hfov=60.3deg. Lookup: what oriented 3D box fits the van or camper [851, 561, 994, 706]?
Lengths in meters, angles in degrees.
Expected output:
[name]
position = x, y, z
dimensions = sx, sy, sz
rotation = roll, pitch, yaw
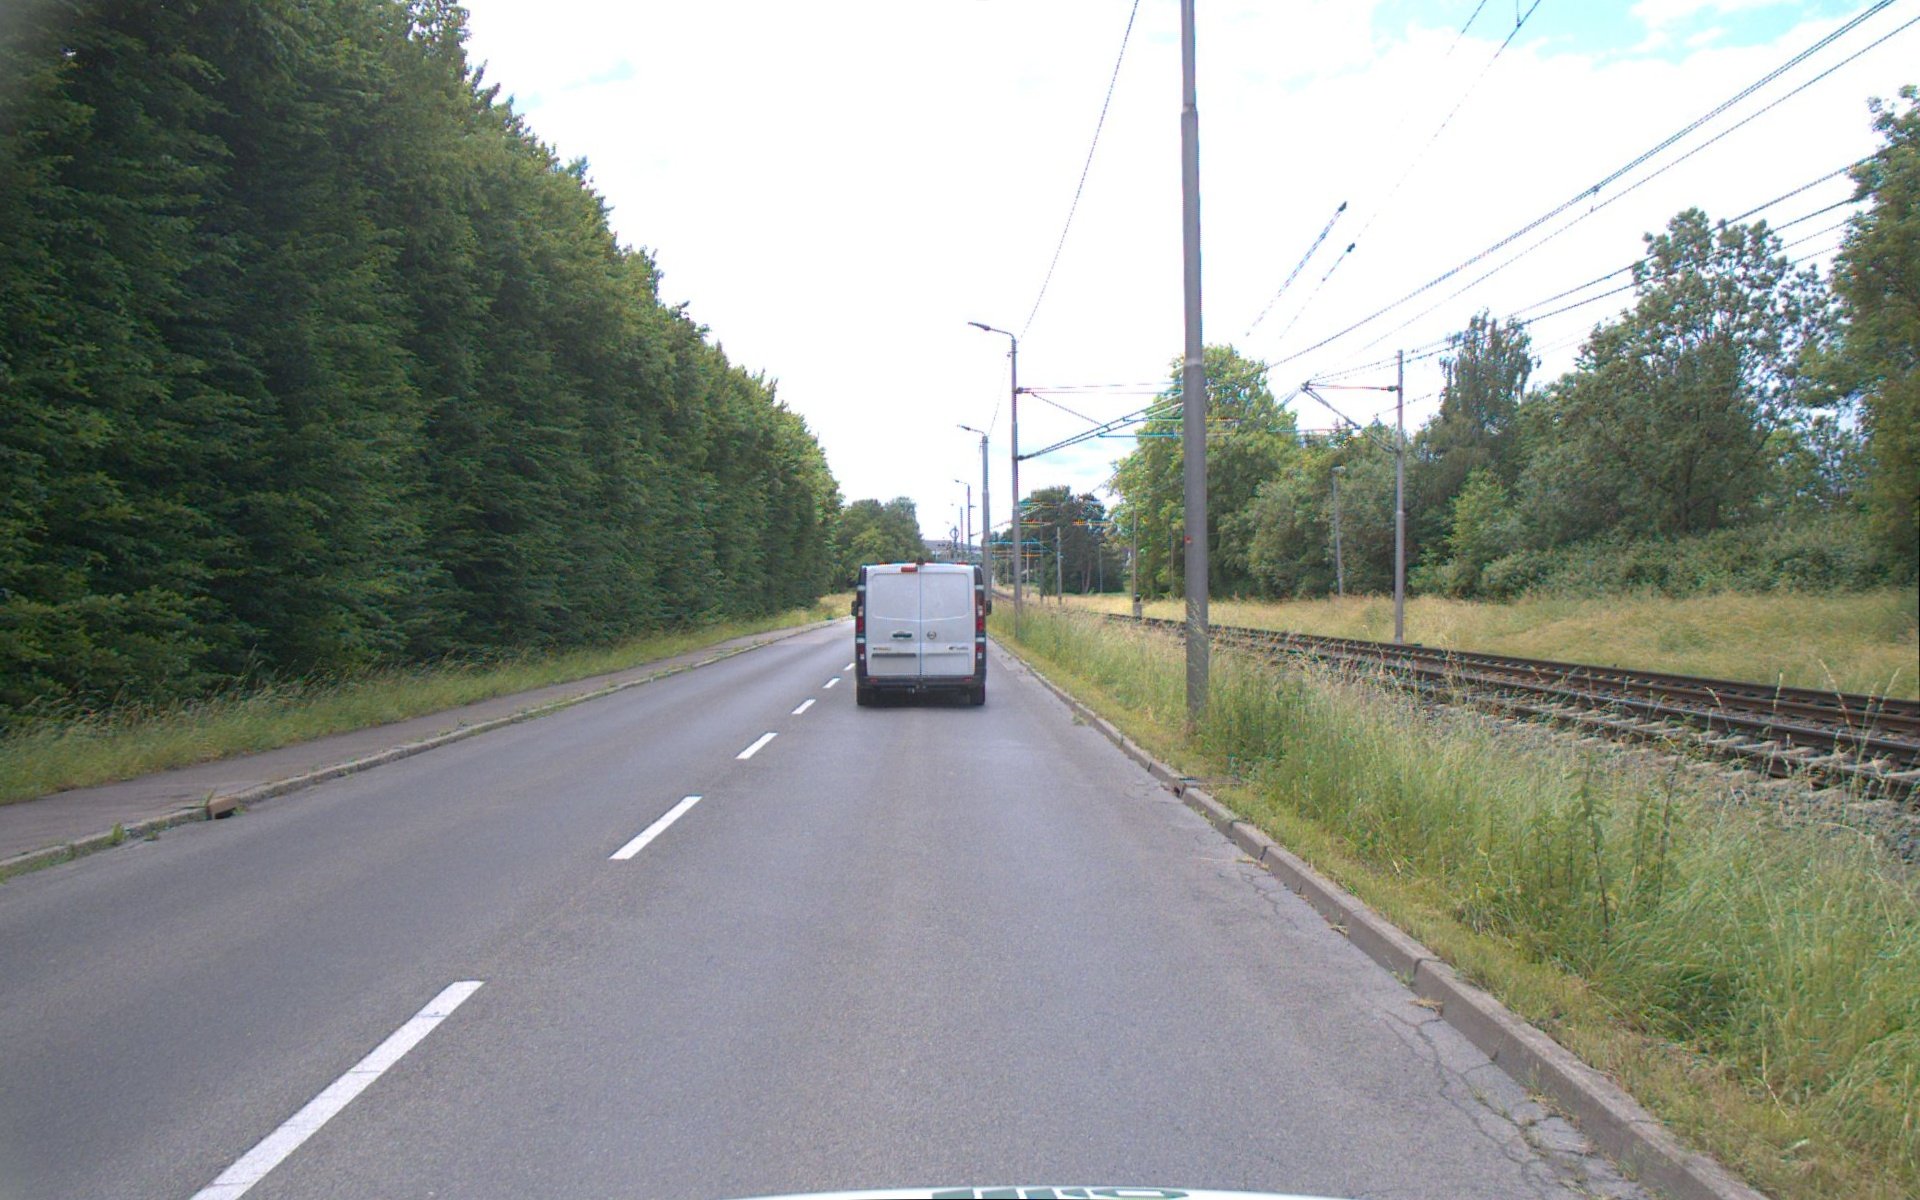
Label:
[van or camper]
position = -0.560, 0.431, 24.358
dimensions = 1.903, 1.930, 4.283
rotation = 0, 0, -2
